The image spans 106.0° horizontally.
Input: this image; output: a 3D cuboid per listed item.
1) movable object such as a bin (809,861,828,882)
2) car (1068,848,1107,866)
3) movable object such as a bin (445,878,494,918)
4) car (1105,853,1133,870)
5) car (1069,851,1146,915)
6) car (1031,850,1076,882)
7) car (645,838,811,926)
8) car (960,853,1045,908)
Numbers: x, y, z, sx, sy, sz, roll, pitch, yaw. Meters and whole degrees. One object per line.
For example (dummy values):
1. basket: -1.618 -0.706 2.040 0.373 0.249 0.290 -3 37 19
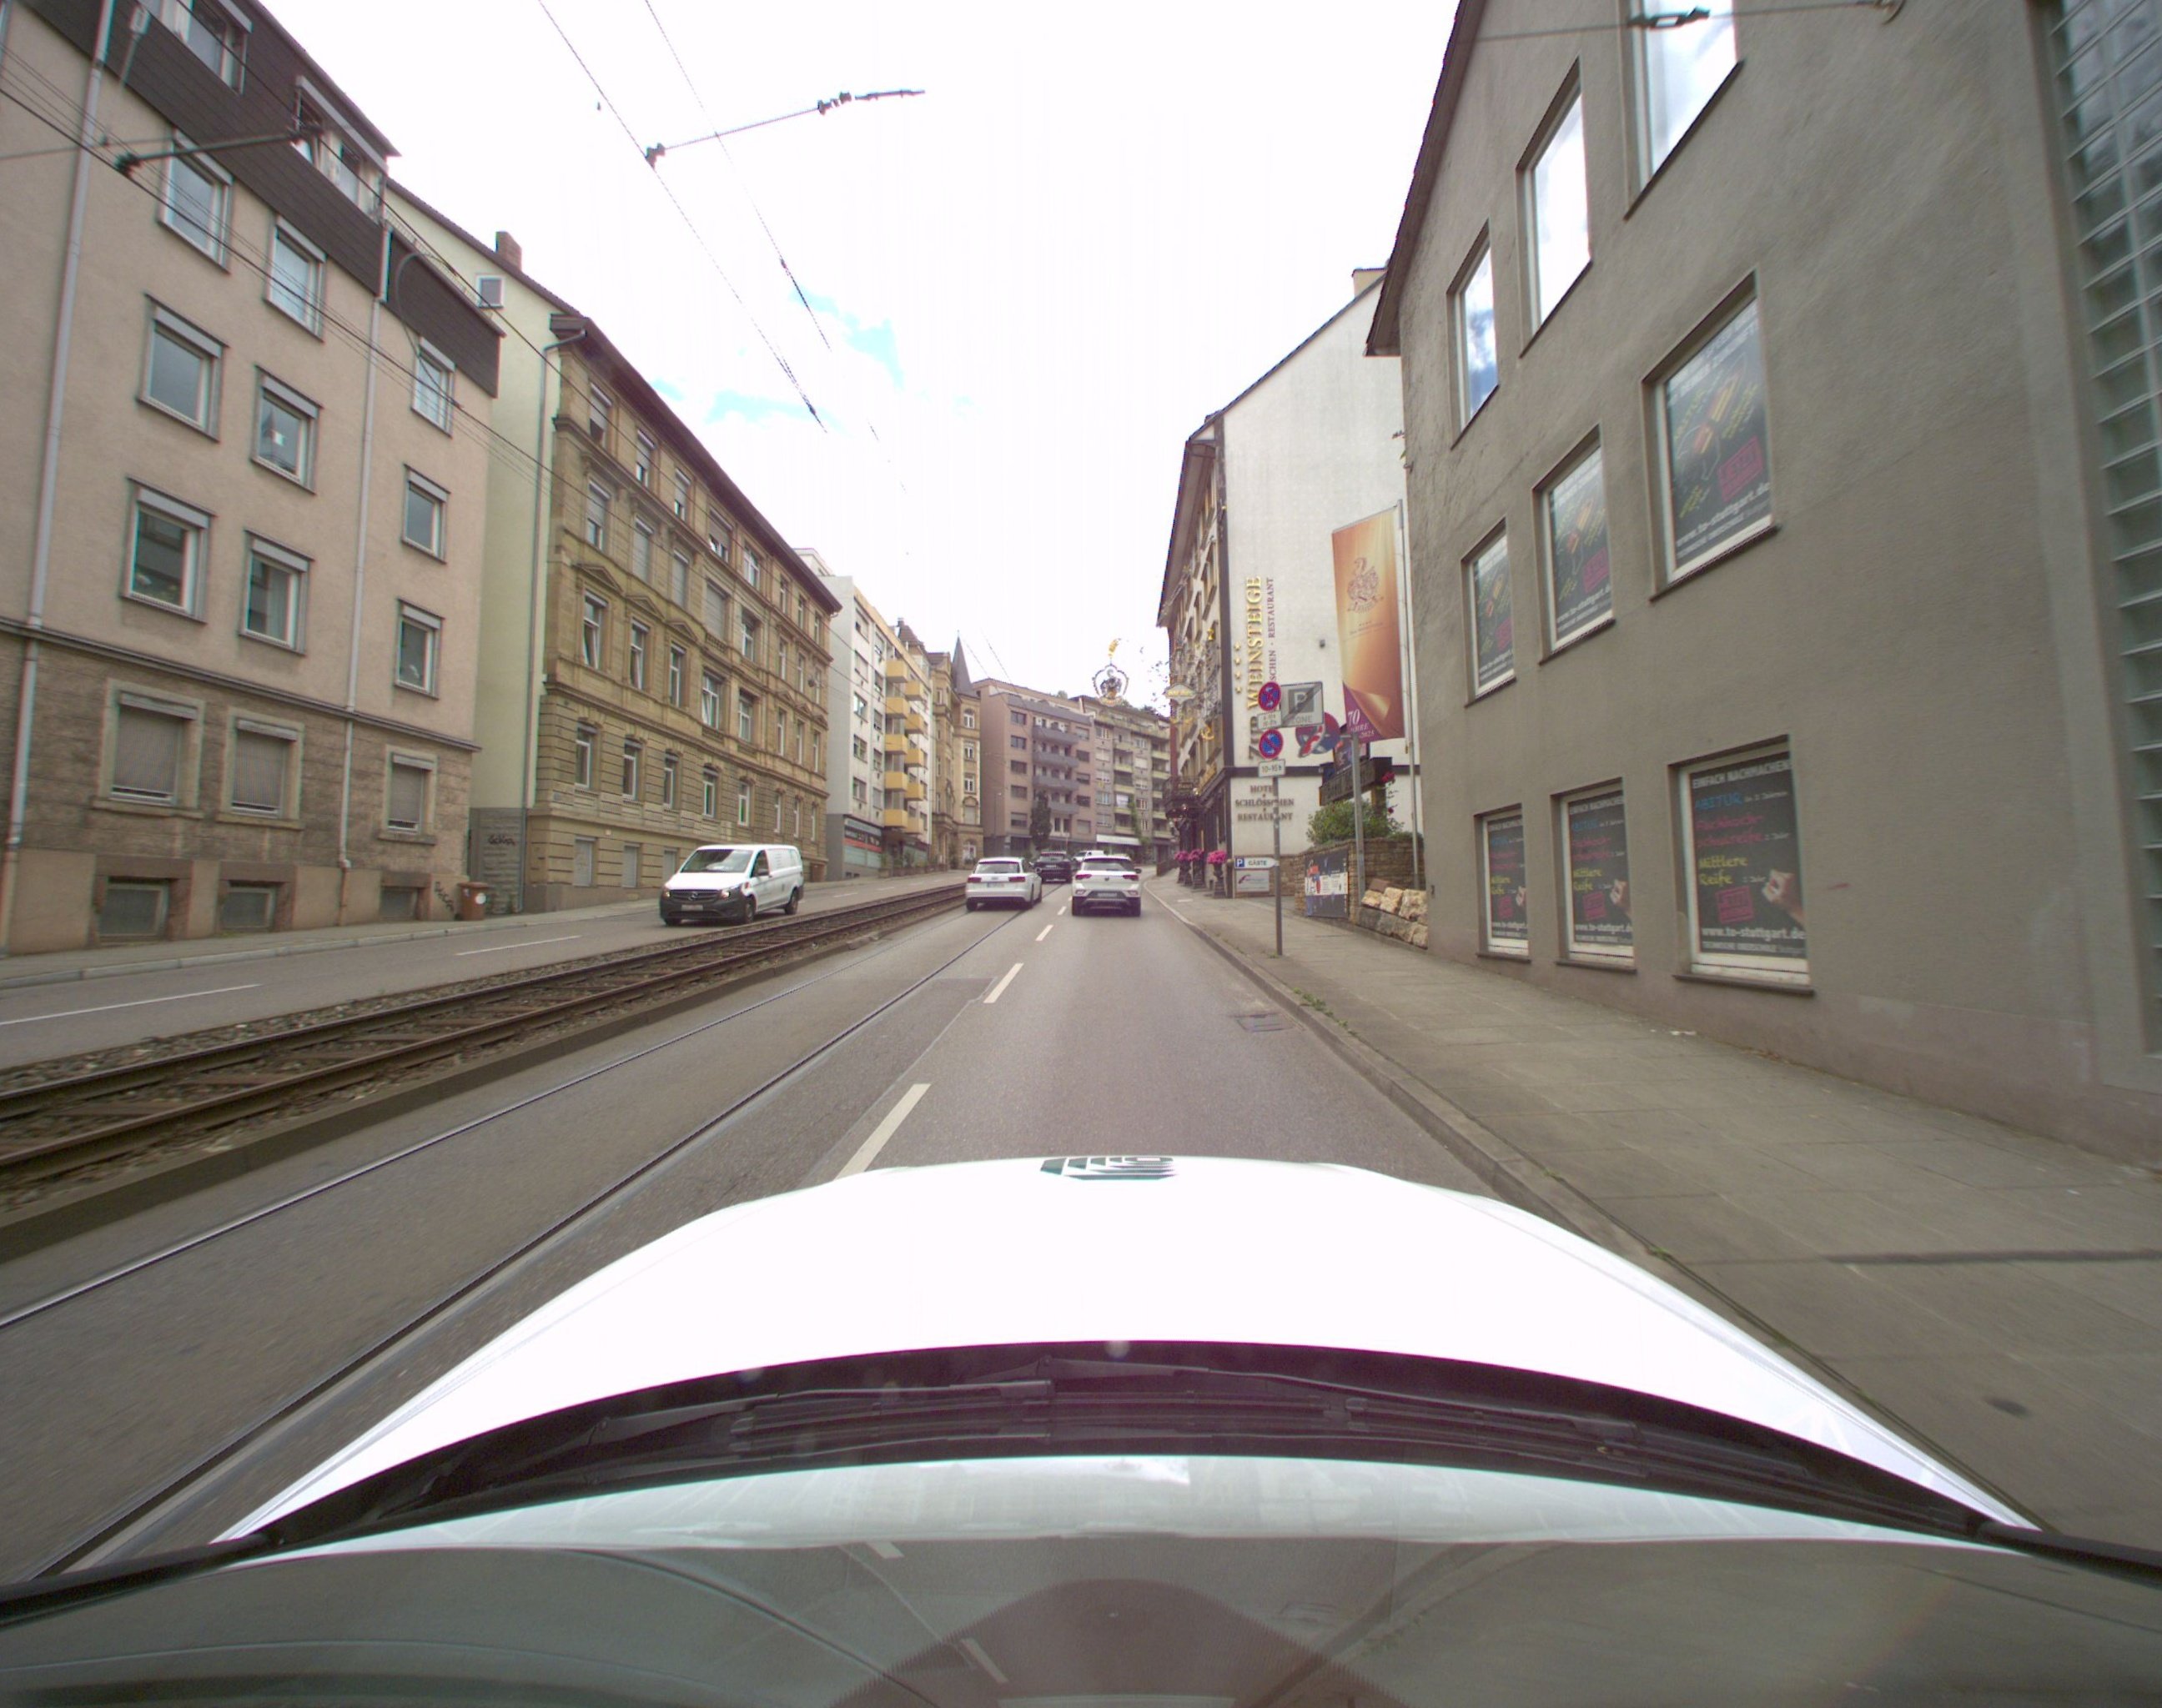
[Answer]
1. movable object such as a bin: -13.735 0.903 42.657 0.767 1.074 0.561 -1 0 1
2. car: 0.771 0.287 94.662 1.974 2.035 4.731 -1 0 40
3. movable object such as a bin: -14.787 1.051 19.713 0.626 0.911 0.677 3 0 2
4. car: 4.490 0.856 96.362 1.887 1.922 4.459 -1 0 22
5. car: 0.724 0.701 22.001 1.871 1.554 4.002 0 0 2
6. car: -1.378 0.580 42.618 2.030 1.571 4.360 -1 0 1
7. car: -8.602 0.606 20.458 1.952 1.900 5.315 0 0 -2
8. car: -2.192 0.703 23.992 1.871 1.455 4.620 0 0 2
